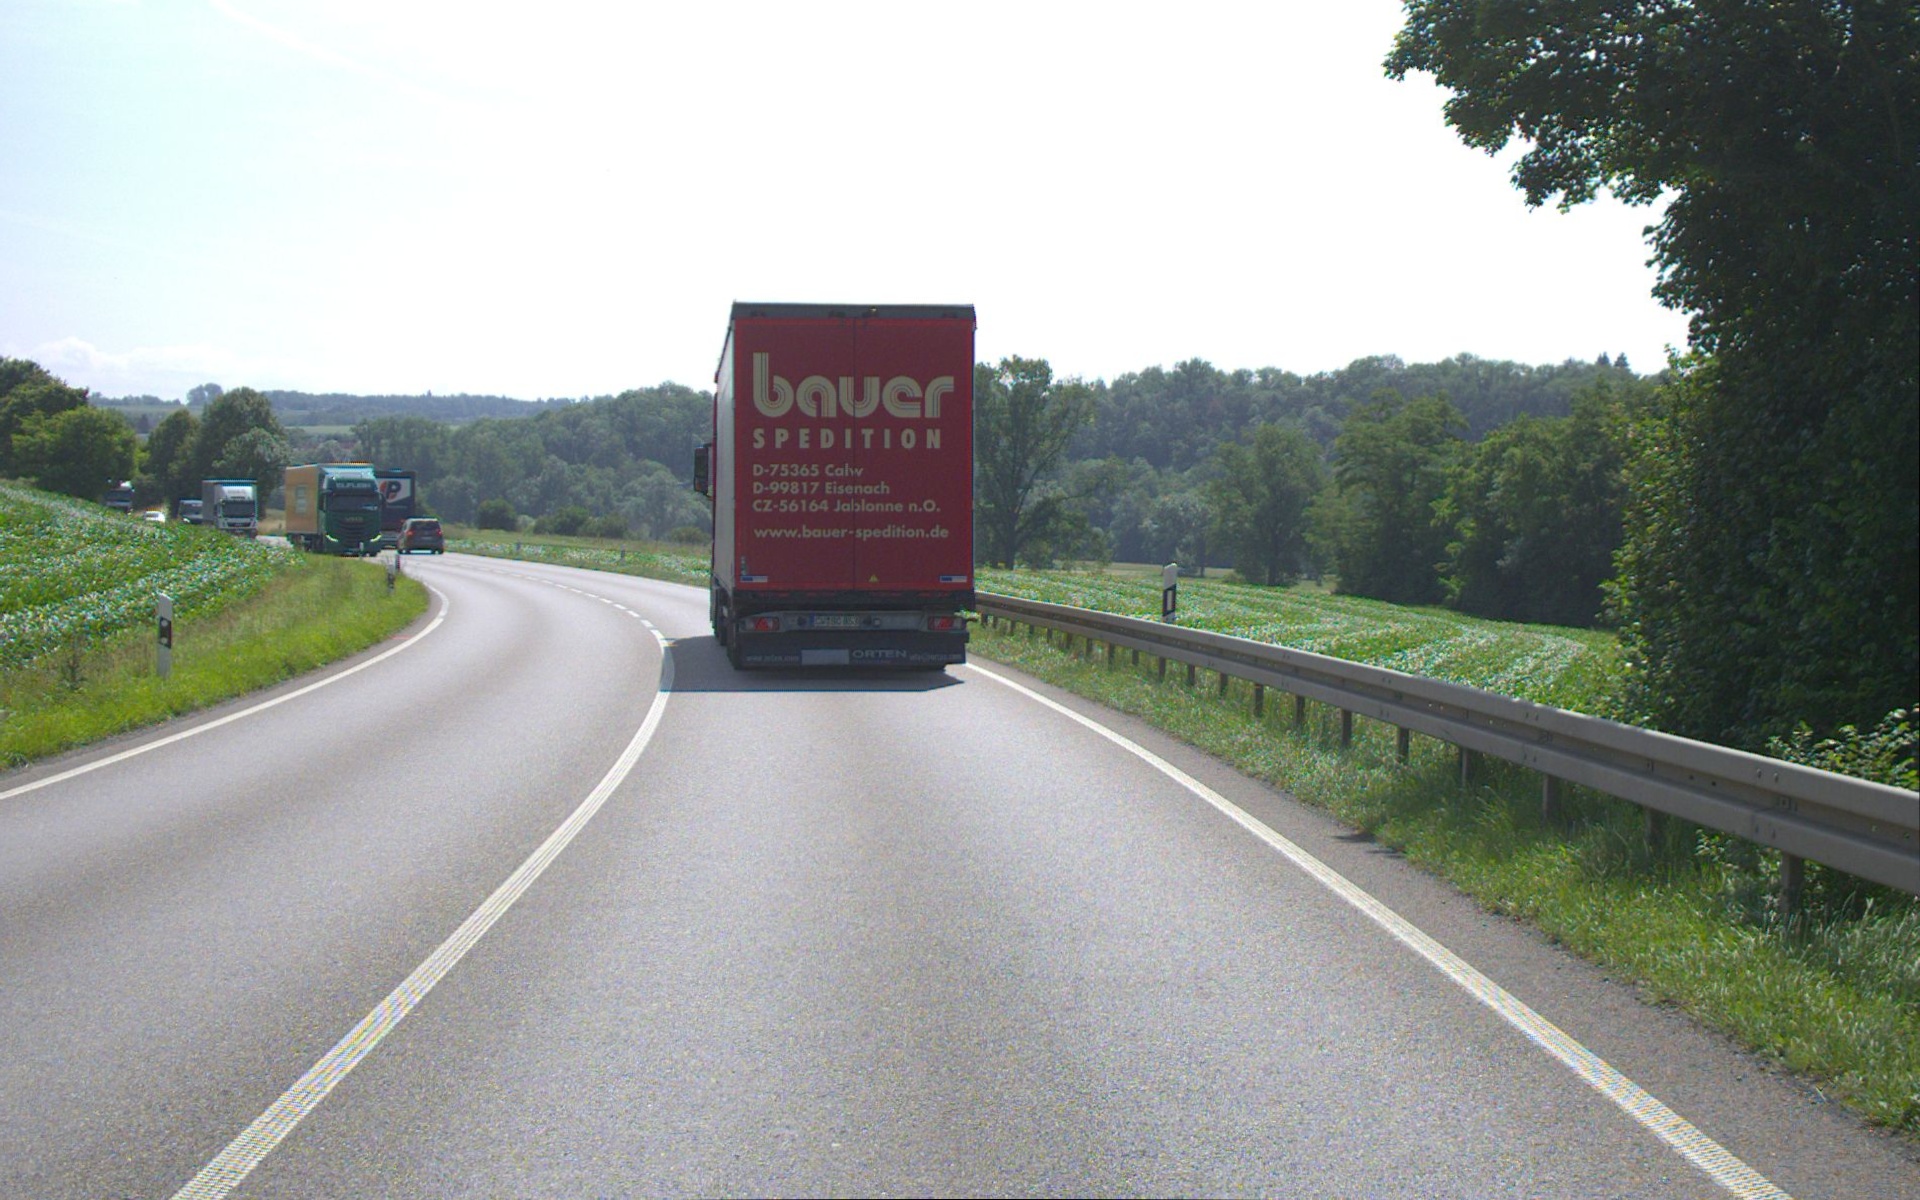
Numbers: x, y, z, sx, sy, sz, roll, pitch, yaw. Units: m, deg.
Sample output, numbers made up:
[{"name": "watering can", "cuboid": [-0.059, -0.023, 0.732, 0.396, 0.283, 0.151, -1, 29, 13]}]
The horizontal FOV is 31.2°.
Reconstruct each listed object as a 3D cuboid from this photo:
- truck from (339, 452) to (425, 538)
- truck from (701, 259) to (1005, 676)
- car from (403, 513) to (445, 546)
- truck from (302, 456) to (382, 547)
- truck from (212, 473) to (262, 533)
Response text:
[{"name": "truck", "cuboid": [-30.440, -5.464, 180.697, 3.639, 4.277, 11.989, 0, 1, -14]}, {"name": "truck", "cuboid": [-1.218, -1.424, 39.284, 3.094, 4.248, 8.315, 0, 1, -2]}, {"name": "car", "cuboid": [-25.137, -3.312, 161.133, 1.581, 1.496, 3.878, 1, 1, -14]}, {"name": "truck", "cuboid": [-28.969, -4.595, 160.647, 2.770, 3.984, 17.033, 0, 1, -13]}, {"name": "truck", "cuboid": [-44.324, -5.933, 210.591, 2.740, 3.566, 9.730, 0, 1, -13]}]
